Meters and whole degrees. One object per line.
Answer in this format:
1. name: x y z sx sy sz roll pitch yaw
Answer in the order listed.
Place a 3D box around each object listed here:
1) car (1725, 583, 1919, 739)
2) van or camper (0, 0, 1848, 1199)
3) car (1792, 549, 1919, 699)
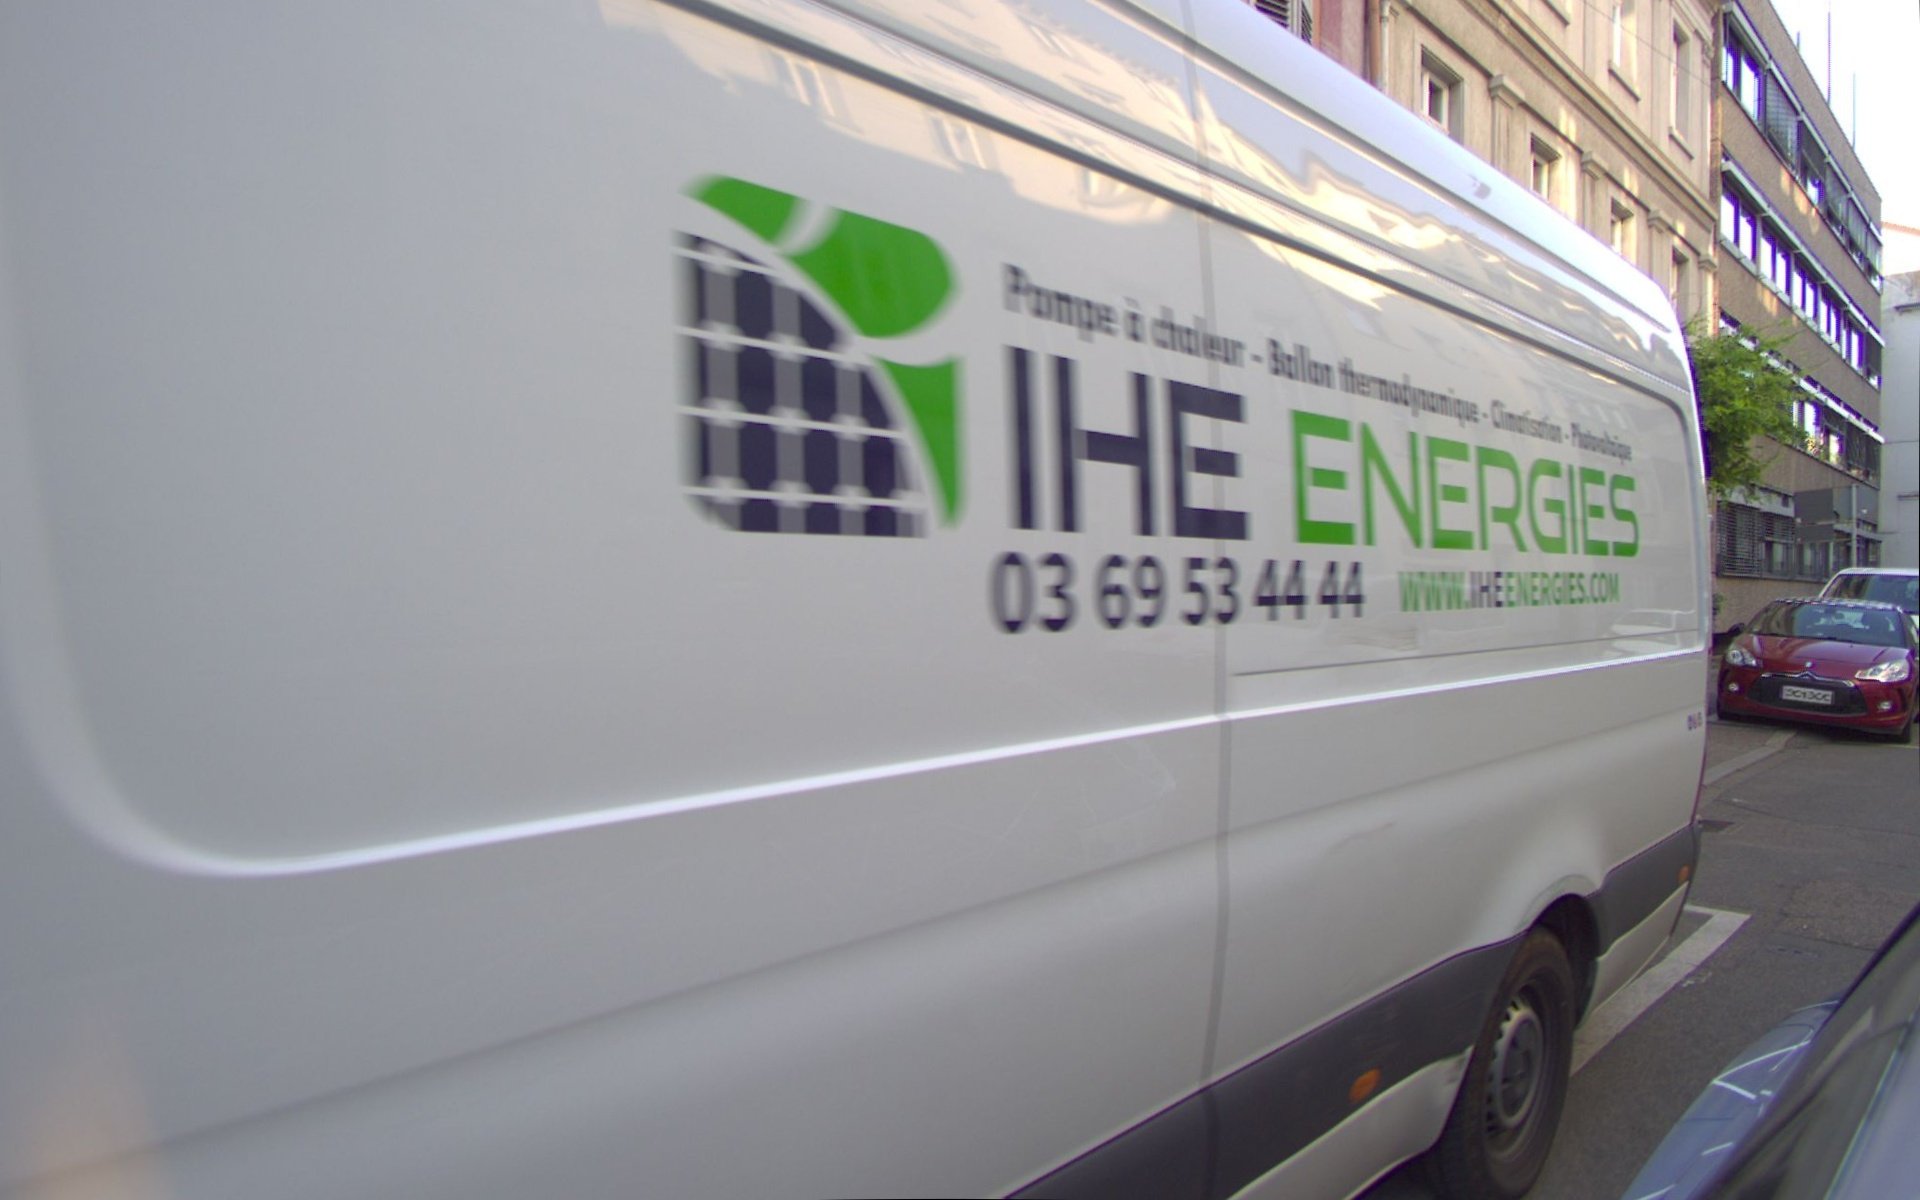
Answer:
1. car: 10.305 0.580 11.752 3.690 1.524 1.657 0 1 -43
2. van or camper: -0.275 0.135 2.043 6.937 2.670 2.054 0 1 -40
3. car: 14.174 0.289 14.814 5.179 1.921 1.942 0 1 -37
